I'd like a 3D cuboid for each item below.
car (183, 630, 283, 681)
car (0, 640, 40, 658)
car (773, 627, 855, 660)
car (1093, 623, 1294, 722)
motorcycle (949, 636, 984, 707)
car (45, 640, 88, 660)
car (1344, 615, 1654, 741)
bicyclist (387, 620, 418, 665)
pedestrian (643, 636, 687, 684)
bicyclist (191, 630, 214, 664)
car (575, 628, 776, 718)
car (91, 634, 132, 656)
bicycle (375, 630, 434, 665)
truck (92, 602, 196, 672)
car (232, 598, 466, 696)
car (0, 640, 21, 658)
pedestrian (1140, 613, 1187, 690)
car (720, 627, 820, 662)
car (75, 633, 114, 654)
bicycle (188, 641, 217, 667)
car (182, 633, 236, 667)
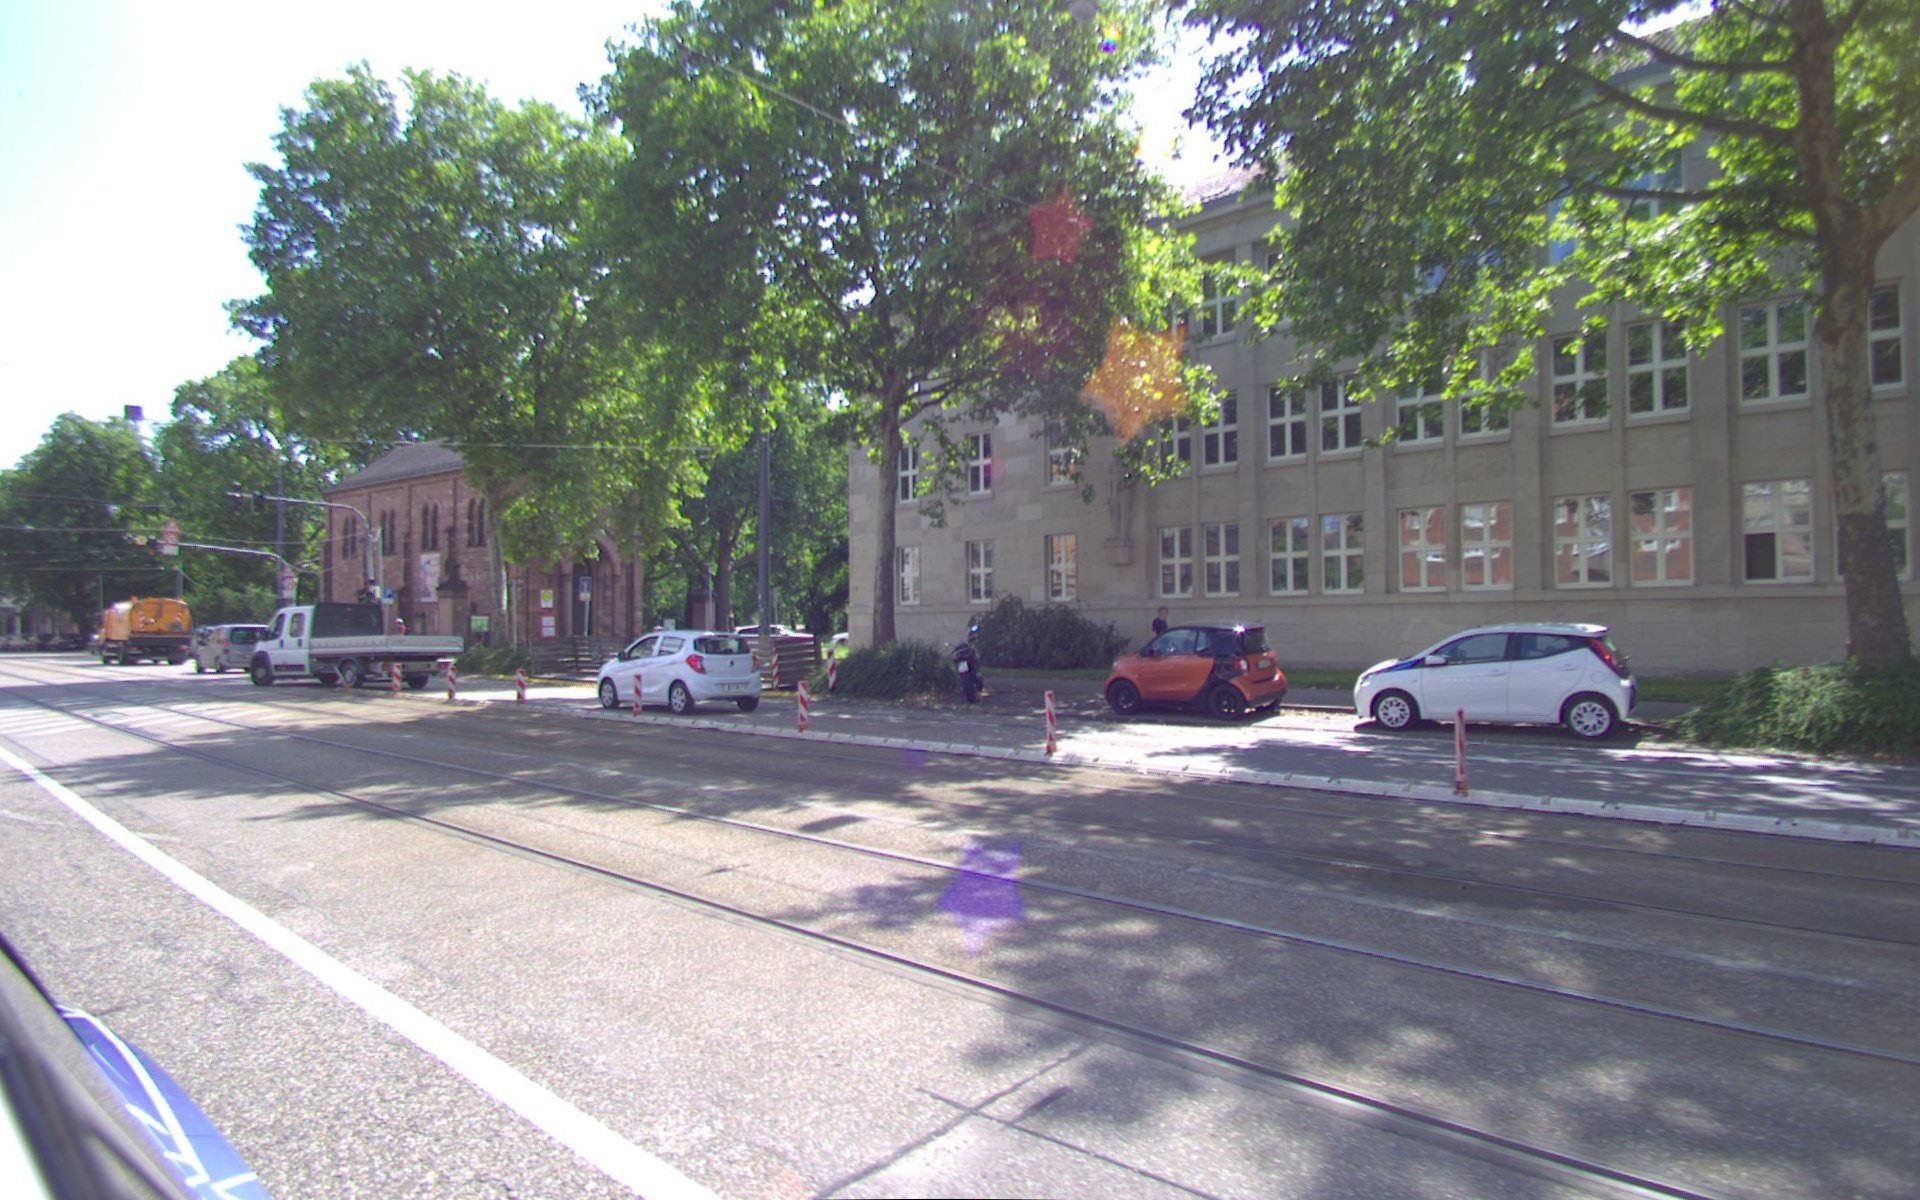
[{"bbox_3d":[-26.936,2.014,37.437,4.534,1.759,1.901,-1,-4,40],"label":"car"},{"bbox_3d":[-82.573,4.289,88.769,3.987,1.508,1.743,-1,0,32],"label":"car"},{"bbox_3d":[-7.639,2.279,53.118,3.952,1.706,1.757,-1,-1,7],"label":"car"},{"bbox_3d":[3.873,1.166,16.941,2.880,1.465,1.472,-2,0,39],"label":"car"},{"bbox_3d":[0.158,1.412,20.509,0.537,1.184,2.106,-5,1,3],"label":"motorcycle"},{"bbox_3d":[-73.288,4.063,82.981,3.990,1.508,1.742,-1,0,35],"label":"car"},{"bbox_3d":[7.385,1.008,13.988,3.488,1.465,1.729,-2,0,39],"label":"car"},{"bbox_3d":[-23.270,1.764,42.273,0.660,1.798,0.875,-2,0,33],"label":"bicyclist"},{"bbox_3d":[-8.285,1.668,28.411,0.913,1.221,0.747,-2,4,43],"label":"pedestrian"},{"bbox_3d":[-38.323,2.353,51.189,1.175,1.699,0.694,-2,-2,40],"label":"bicyclist"},{"bbox_3d":[-5.337,1.351,18.817,3.785,1.491,1.742,-3,-6,40],"label":"car"},{"bbox_3d":[-62.615,3.302,74.683,3.999,1.508,1.738,-1,0,42],"label":"car"},{"bbox_3d":[-23.220,1.961,42.352,0.670,1.299,2.065,-2,1,33],"label":"bicycle"},{"bbox_3d":[-39.268,1.781,48.591,7.219,3.130,2.611,-2,-3,41],"label":"truck"},{"bbox_3d":[-16.621,1.313,27.386,6.951,2.392,2.240,-2,-5,30],"label":"car"},{"bbox_3d":[-86.324,4.418,91.004,3.986,1.508,1.744,-1,0,32],"label":"car"},{"bbox_3d":[4.375,1.087,21.770,0.795,1.603,0.548,-2,0,40],"label":"pedestrian"},{"bbox_3d":[-8.962,2.103,47.831,4.363,1.620,1.755,-1,-1,11],"label":"car"},{"bbox_3d":[-67.284,3.359,78.650,3.999,1.508,1.738,-1,0,42],"label":"car"},{"bbox_3d":[-38.346,2.714,51.204,2.217,1.300,0.697,-2,-2,40],"label":"bicycle"},{"bbox_3d":[-43.733,2.886,58.906,3.999,1.850,1.738,-1,0,42],"label":"car"}]
